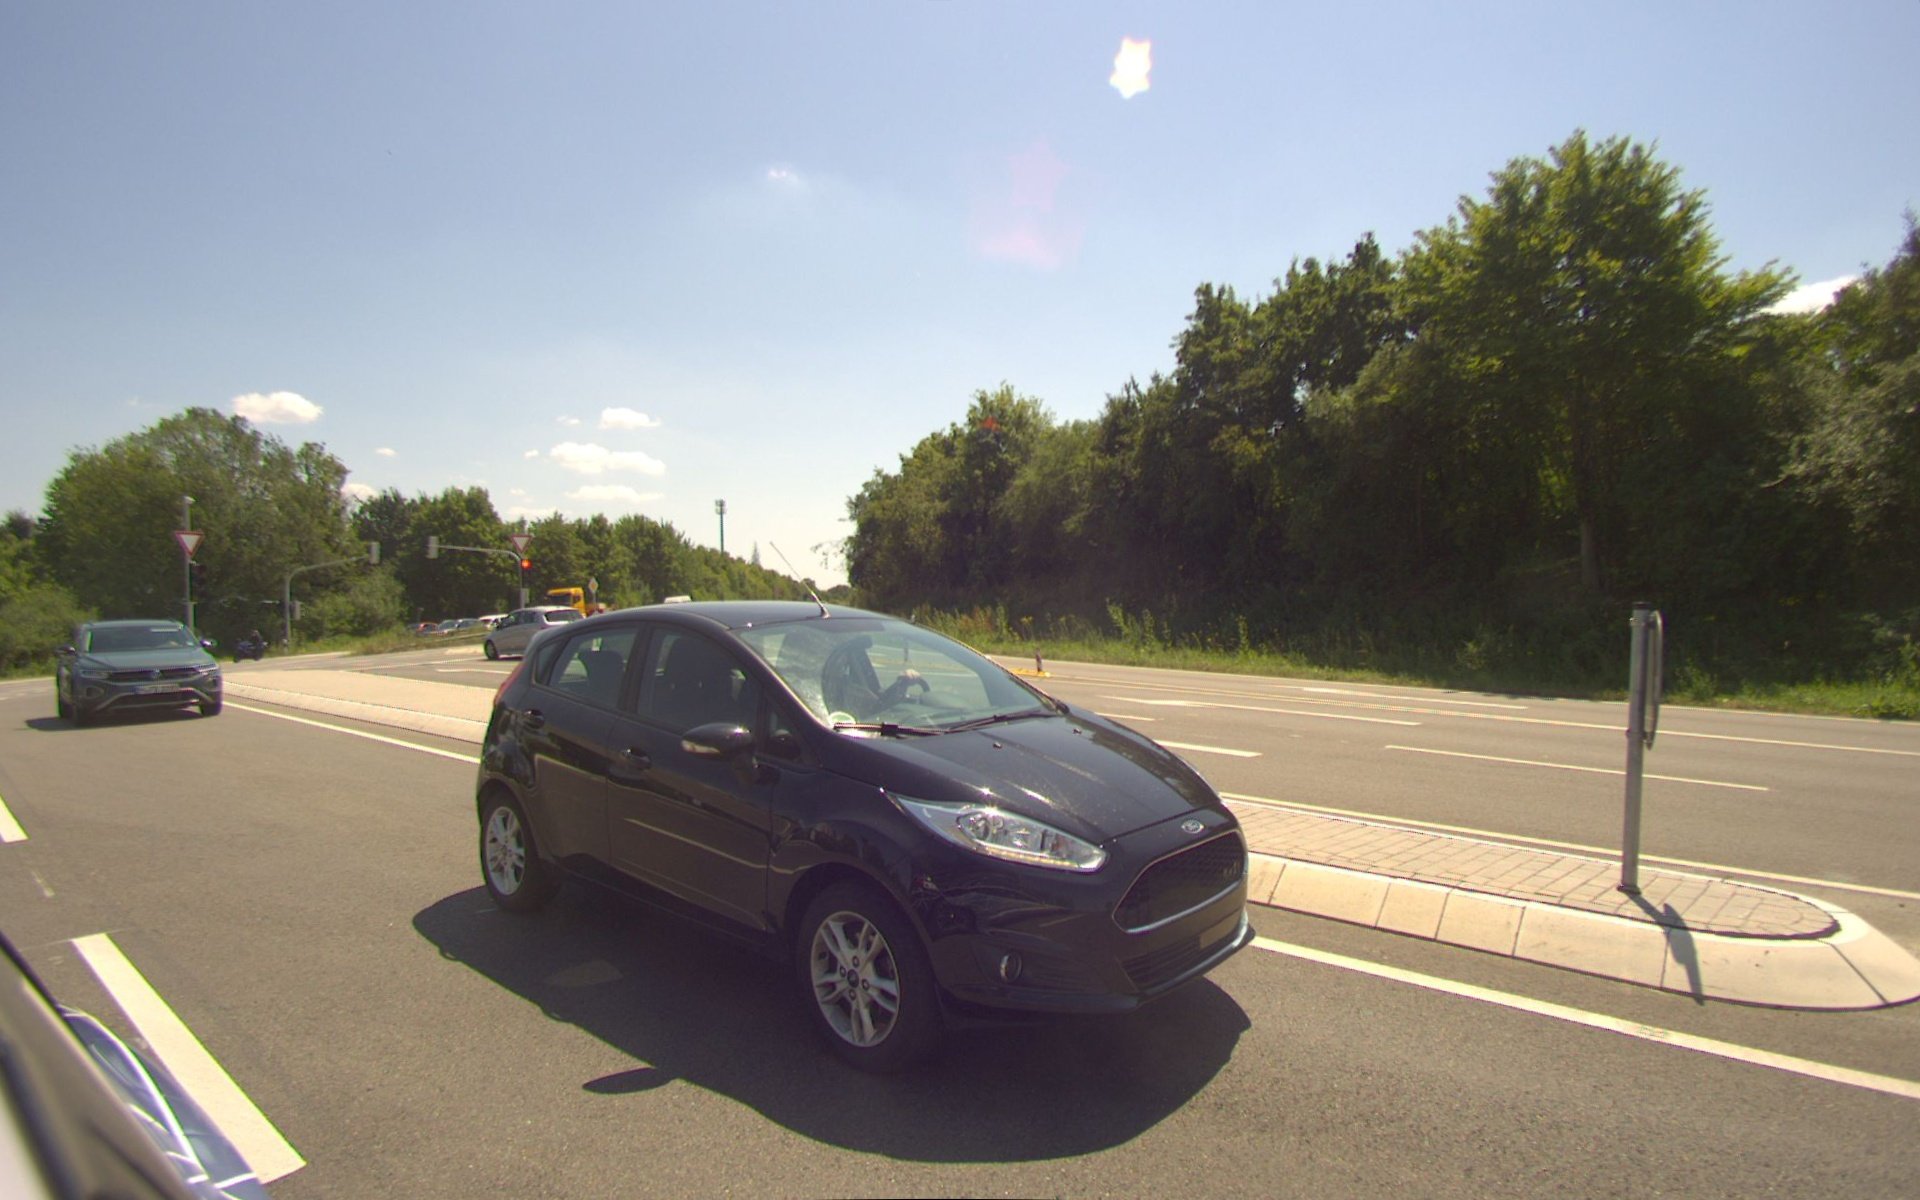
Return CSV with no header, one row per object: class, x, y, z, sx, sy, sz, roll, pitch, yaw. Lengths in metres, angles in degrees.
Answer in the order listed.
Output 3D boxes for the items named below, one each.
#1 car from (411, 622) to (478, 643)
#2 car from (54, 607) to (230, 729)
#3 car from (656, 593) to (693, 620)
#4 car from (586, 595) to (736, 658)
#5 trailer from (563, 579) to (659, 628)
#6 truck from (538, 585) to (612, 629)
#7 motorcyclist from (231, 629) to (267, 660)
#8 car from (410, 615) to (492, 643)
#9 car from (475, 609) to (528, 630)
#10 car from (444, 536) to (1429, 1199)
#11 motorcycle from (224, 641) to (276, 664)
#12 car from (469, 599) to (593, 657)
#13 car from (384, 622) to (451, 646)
car,-36.059,2.244,70.926,1.982,1.198,3.980,-3,0,16
car,-13.075,0.981,16.068,1.813,1.598,4.395,-2,0,-43
car,-30.671,0.668,108.886,2.140,2.627,5.478,-3,0,1
car,-7.882,0.693,26.439,1.971,1.450,4.225,-3,0,-44
trailer,-32.060,0.313,93.851,3.036,4.093,13.147,-3,0,6
truck,-32.869,0.568,86.725,2.951,3.564,6.841,-3,0,8
motorcyclist,-35.239,2.204,50.179,0.854,1.500,1.155,-1,-2,16
car,-30.391,1.701,60.578,2.097,1.603,4.434,0,-1,12
car,-37.170,1.579,82.099,1.766,1.464,3.980,-3,0,16
car,-0.494,0.664,4.303,4.206,1.505,1.635,-2,-1,42
motorcycle,-35.243,2.597,50.269,0.728,1.147,2.061,-1,-3,16
car,-13.547,0.894,31.867,4.346,1.611,1.594,-3,0,37
car,-38.674,2.384,72.220,1.982,1.464,3.980,-3,0,16
